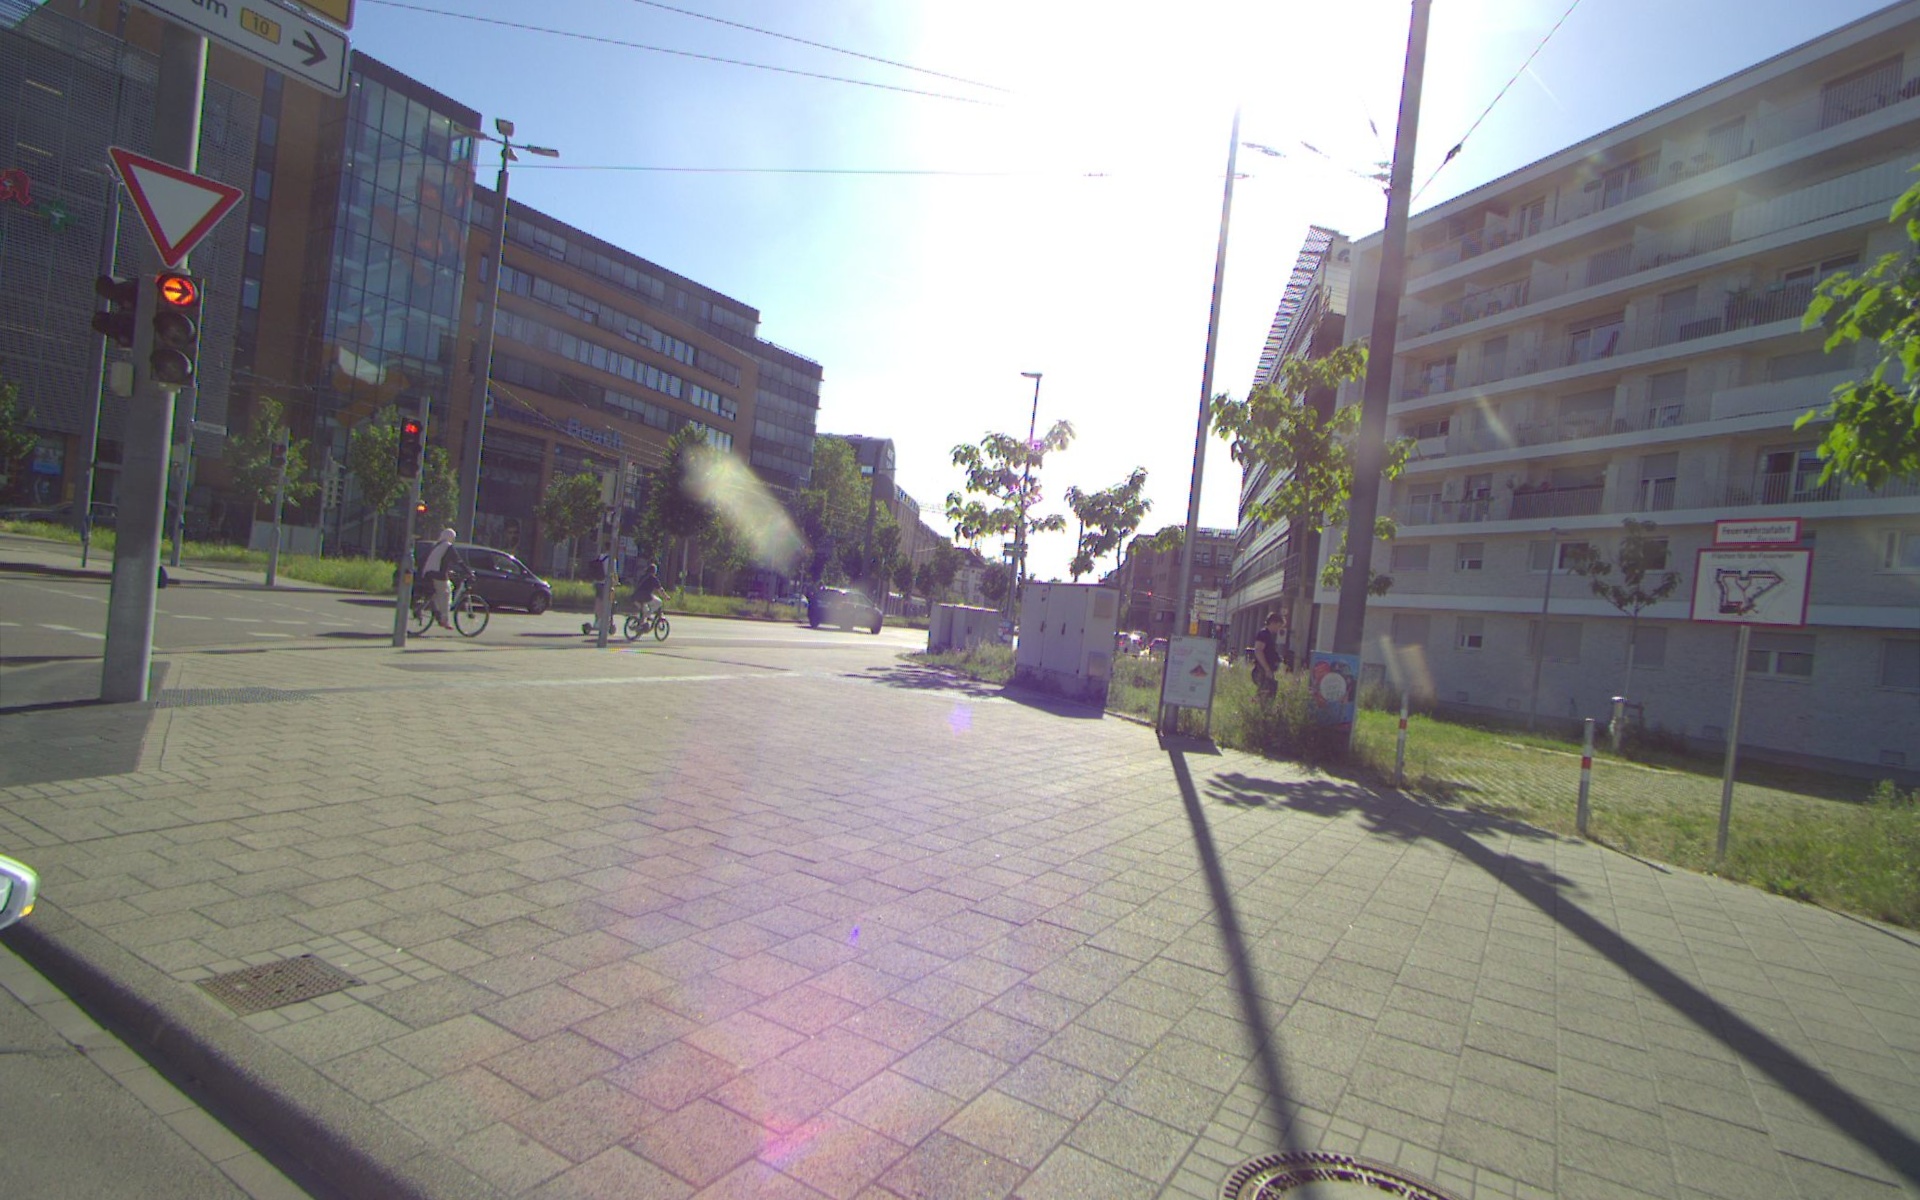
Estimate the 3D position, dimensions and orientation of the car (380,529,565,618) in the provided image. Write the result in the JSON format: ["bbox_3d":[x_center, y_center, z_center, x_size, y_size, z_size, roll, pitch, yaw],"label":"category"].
[{"bbox_3d":[-11.678,-0.588,24.359,1.617,1.665,3.700,7,-1,26],"label":"car"}]

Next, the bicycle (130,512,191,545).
[{"bbox_3d":[-40.520,-3.609,51.038,0.595,1.310,2.260,7,-2,30],"label":"bicycle"}]

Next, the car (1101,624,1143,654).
[{"bbox_3d":[10.079,2.421,62.322,1.677,1.515,4.281,7,-2,19],"label":"car"}]

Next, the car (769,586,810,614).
[{"bbox_3d":[-14.529,0.021,85.816,1.806,1.661,4.314,7,-4,12],"label":"car"}]

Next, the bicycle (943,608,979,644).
[{"bbox_3d":[0.054,1.056,40.377,0.576,1.271,2.042,7,-2,22],"label":"bicycle"}]

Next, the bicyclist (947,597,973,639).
[{"bbox_3d":[0.013,0.732,40.165,0.563,1.585,0.886,7,-1,22],"label":"bicyclist"}]

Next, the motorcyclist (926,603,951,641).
[{"bbox_3d":[-0.922,0.982,44.039,0.576,1.554,0.902,7,0,26],"label":"motorcyclist"}]

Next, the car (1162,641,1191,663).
[{"bbox_3d":[17.917,4.317,83.265,1.677,1.515,4.281,7,-2,19],"label":"car"}]

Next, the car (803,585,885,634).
[{"bbox_3d":[-4.834,0.430,42.500,1.616,1.665,4.200,7,-1,20],"label":"car"}]

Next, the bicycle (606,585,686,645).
[{"bbox_3d":[-6.887,0.349,22.171,0.576,1.150,1.761,7,-2,22],"label":"bicycle"}]

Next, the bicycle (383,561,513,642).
[{"bbox_3d":[-8.635,0.055,17.067,0.571,1.150,1.907,7,-2,25],"label":"bicycle"}]

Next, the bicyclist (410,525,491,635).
[{"bbox_3d":[-8.621,-0.329,17.041,0.563,1.727,0.885,7,-1,25],"label":"bicyclist"}]

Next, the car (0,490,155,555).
[{"bbox_3d":[-32.072,-2.766,36.331,1.810,1.484,4.161,6,-5,30],"label":"car"}]

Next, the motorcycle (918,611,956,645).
[{"bbox_3d":[-0.984,1.238,43.979,0.576,1.297,2.270,7,-1,26],"label":"motorcycle"}]

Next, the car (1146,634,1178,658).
[{"bbox_3d":[15.598,3.591,77.447,1.677,1.515,4.281,7,-2,19],"label":"car"}]

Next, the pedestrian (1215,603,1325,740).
[{"bbox_3d":[4.249,0.971,13.846,0.970,1.719,0.842,6,2,-16],"label":"pedestrian"}]

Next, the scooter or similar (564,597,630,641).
[{"bbox_3d":[-7.855,0.421,21.809,0.603,0.795,1.213,7,-2,22],"label":"scooter or similar"}]

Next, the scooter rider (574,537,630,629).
[{"bbox_3d":[-7.754,-0.358,21.812,0.563,1.894,0.787,7,-1,22],"label":"scooter rider"}]

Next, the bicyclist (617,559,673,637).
[{"bbox_3d":[-6.888,-0.025,22.038,0.563,1.585,0.886,7,-1,22],"label":"bicyclist"}]
